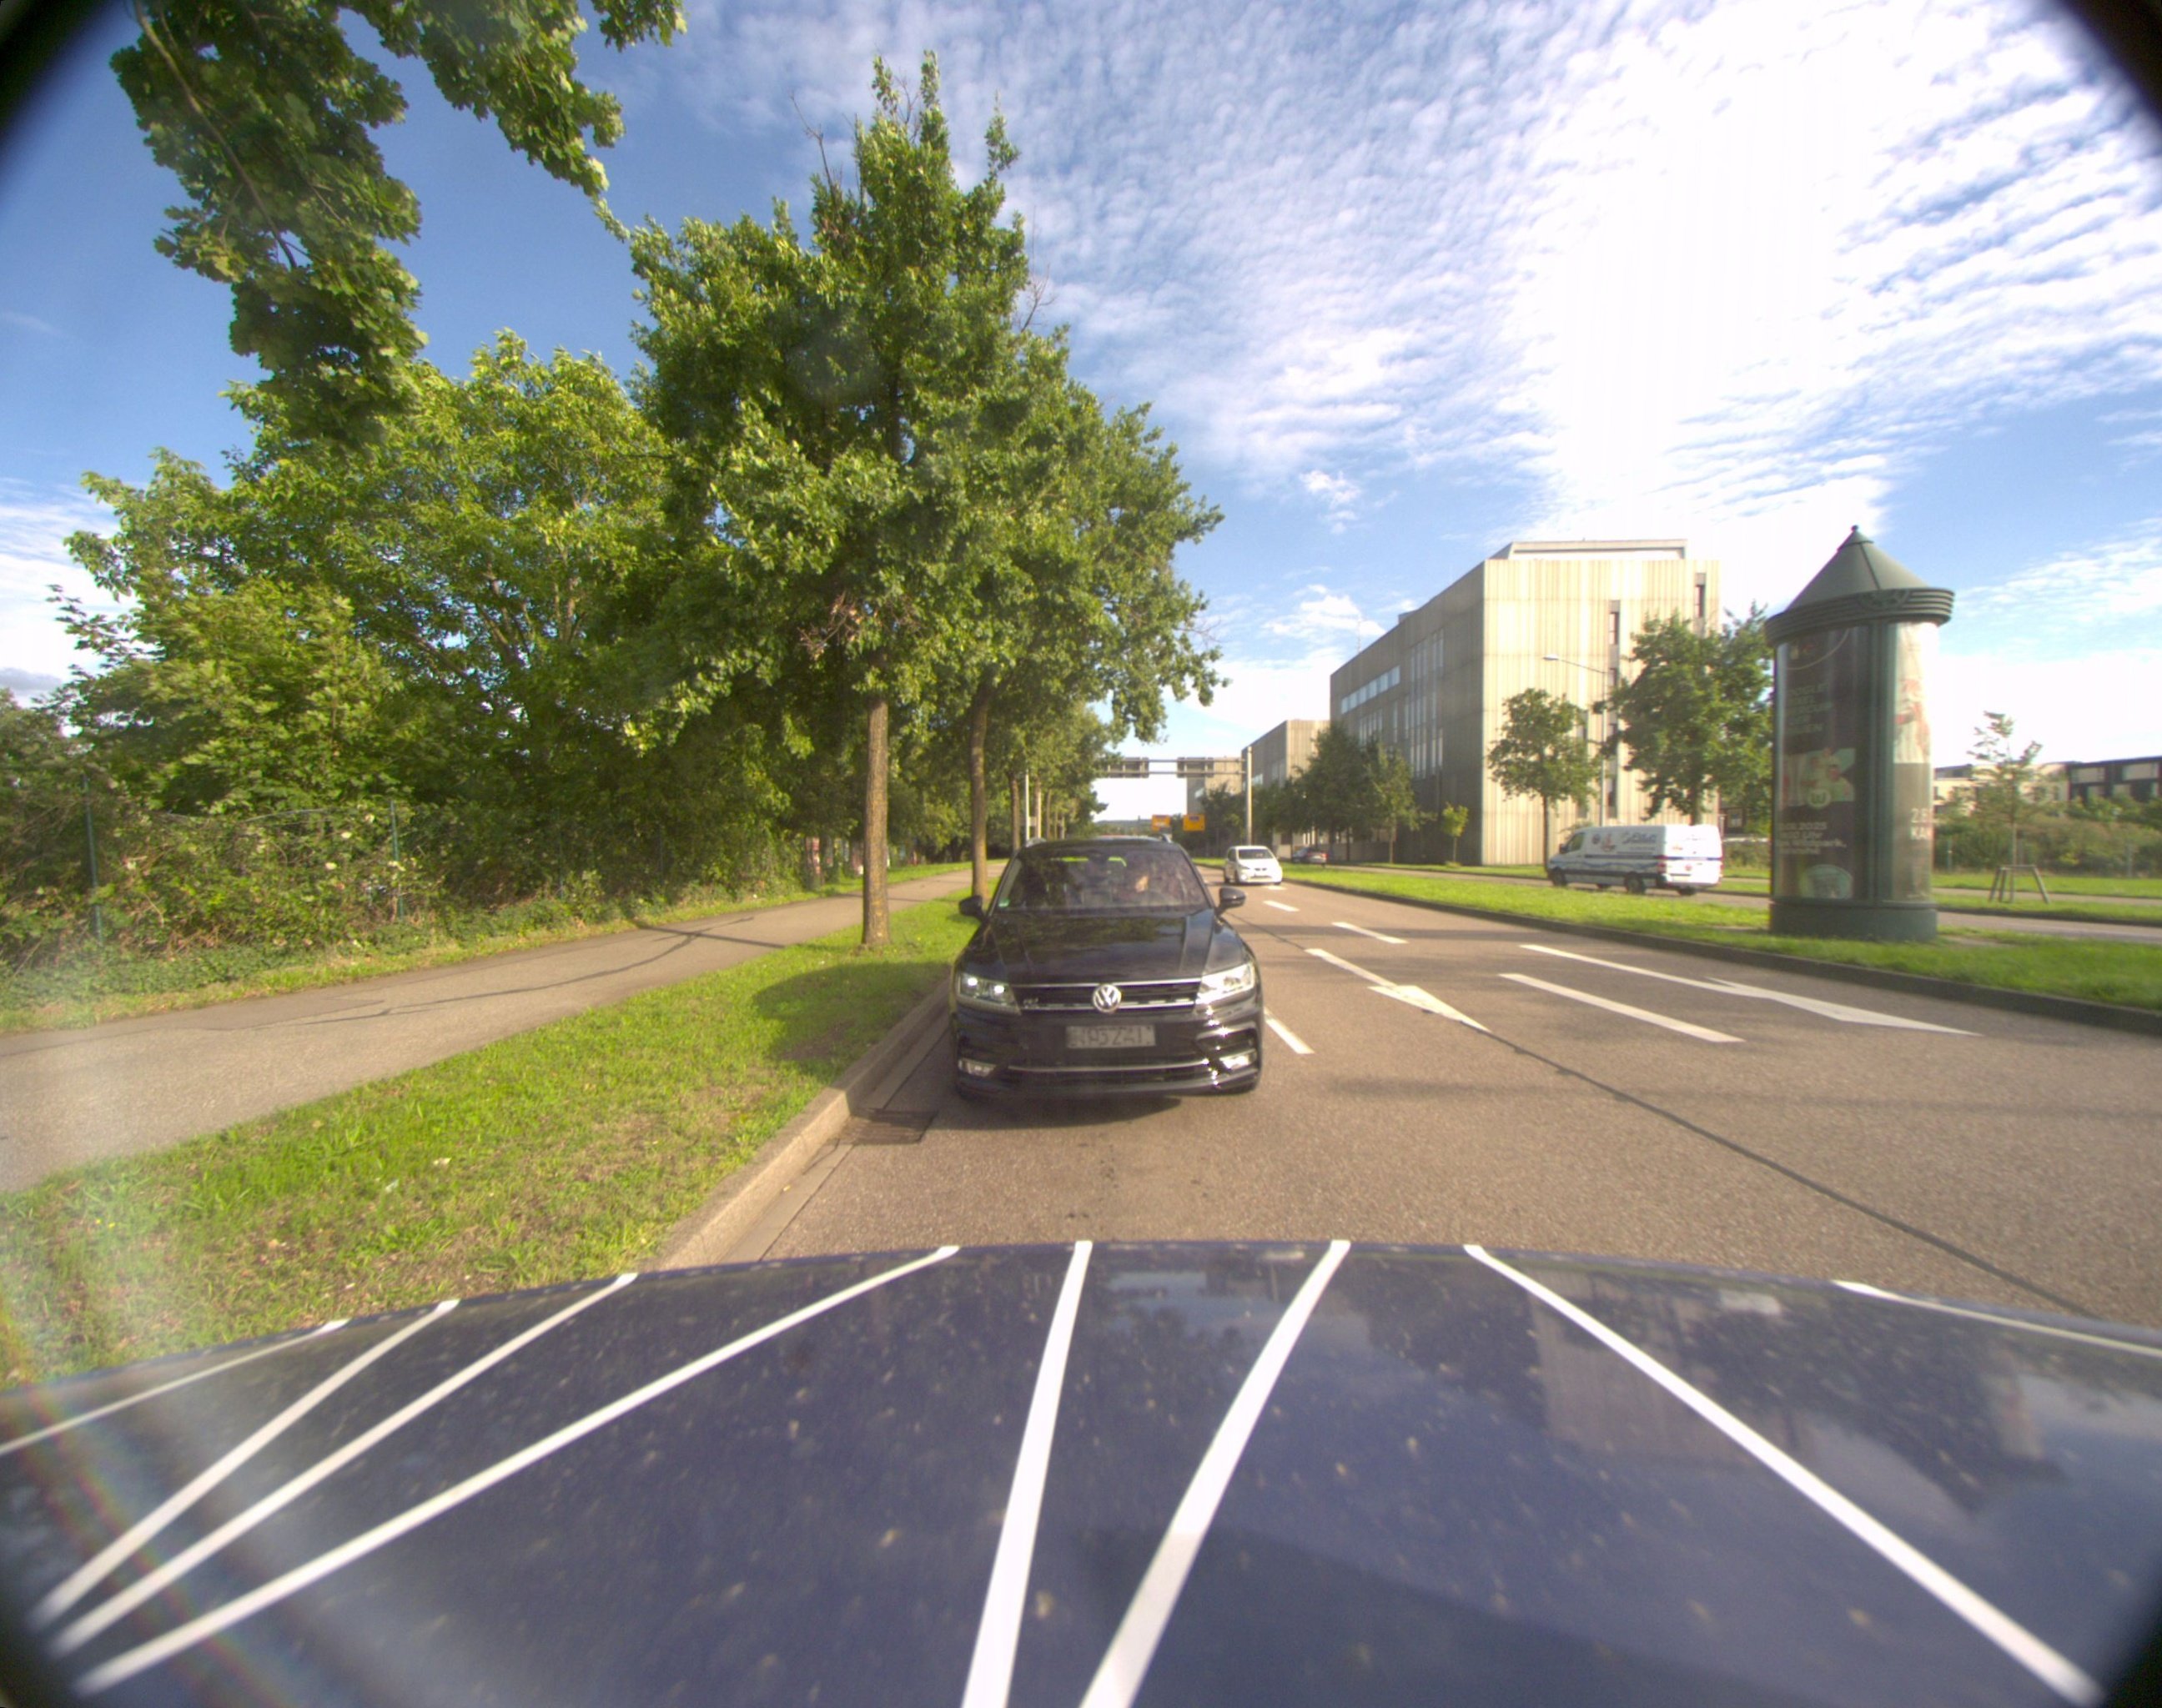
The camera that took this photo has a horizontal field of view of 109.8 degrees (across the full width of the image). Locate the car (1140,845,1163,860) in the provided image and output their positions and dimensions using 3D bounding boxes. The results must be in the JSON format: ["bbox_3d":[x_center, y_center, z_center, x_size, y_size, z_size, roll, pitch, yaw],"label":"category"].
[{"bbox_3d":[7.081,-0.181,76.621,1.823,1.412,4.446,1,0,0],"label":"car"}]

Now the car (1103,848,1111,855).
[{"bbox_3d":[5.543,-0.554,163.816,1.736,1.381,4.000,0,1,1],"label":"car"}]

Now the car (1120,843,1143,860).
[{"bbox_3d":[4.445,-0.223,67.388,1.694,1.466,4.226,0,1,-1],"label":"car"}]

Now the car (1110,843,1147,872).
[{"bbox_3d":[2.754,0.178,45.072,1.998,1.557,4.844,-2,1,2],"label":"car"}]

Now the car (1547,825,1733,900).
[{"bbox_3d":[18.754,0.226,25.963,2.032,2.241,5.539,2,1,-2],"label":"car"}]

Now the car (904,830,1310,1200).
[{"bbox_3d":[0.138,0.807,6.209,1.871,1.685,5.015,-4,0,0],"label":"car"}]

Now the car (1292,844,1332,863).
[{"bbox_3d":[18.280,-0.051,60.414,1.855,1.456,4.454,-1,1,1],"label":"car"}]

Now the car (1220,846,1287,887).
[{"bbox_3d":[6.520,0.431,29.078,1.766,1.456,3.659,-1,1,1],"label":"car"}]
